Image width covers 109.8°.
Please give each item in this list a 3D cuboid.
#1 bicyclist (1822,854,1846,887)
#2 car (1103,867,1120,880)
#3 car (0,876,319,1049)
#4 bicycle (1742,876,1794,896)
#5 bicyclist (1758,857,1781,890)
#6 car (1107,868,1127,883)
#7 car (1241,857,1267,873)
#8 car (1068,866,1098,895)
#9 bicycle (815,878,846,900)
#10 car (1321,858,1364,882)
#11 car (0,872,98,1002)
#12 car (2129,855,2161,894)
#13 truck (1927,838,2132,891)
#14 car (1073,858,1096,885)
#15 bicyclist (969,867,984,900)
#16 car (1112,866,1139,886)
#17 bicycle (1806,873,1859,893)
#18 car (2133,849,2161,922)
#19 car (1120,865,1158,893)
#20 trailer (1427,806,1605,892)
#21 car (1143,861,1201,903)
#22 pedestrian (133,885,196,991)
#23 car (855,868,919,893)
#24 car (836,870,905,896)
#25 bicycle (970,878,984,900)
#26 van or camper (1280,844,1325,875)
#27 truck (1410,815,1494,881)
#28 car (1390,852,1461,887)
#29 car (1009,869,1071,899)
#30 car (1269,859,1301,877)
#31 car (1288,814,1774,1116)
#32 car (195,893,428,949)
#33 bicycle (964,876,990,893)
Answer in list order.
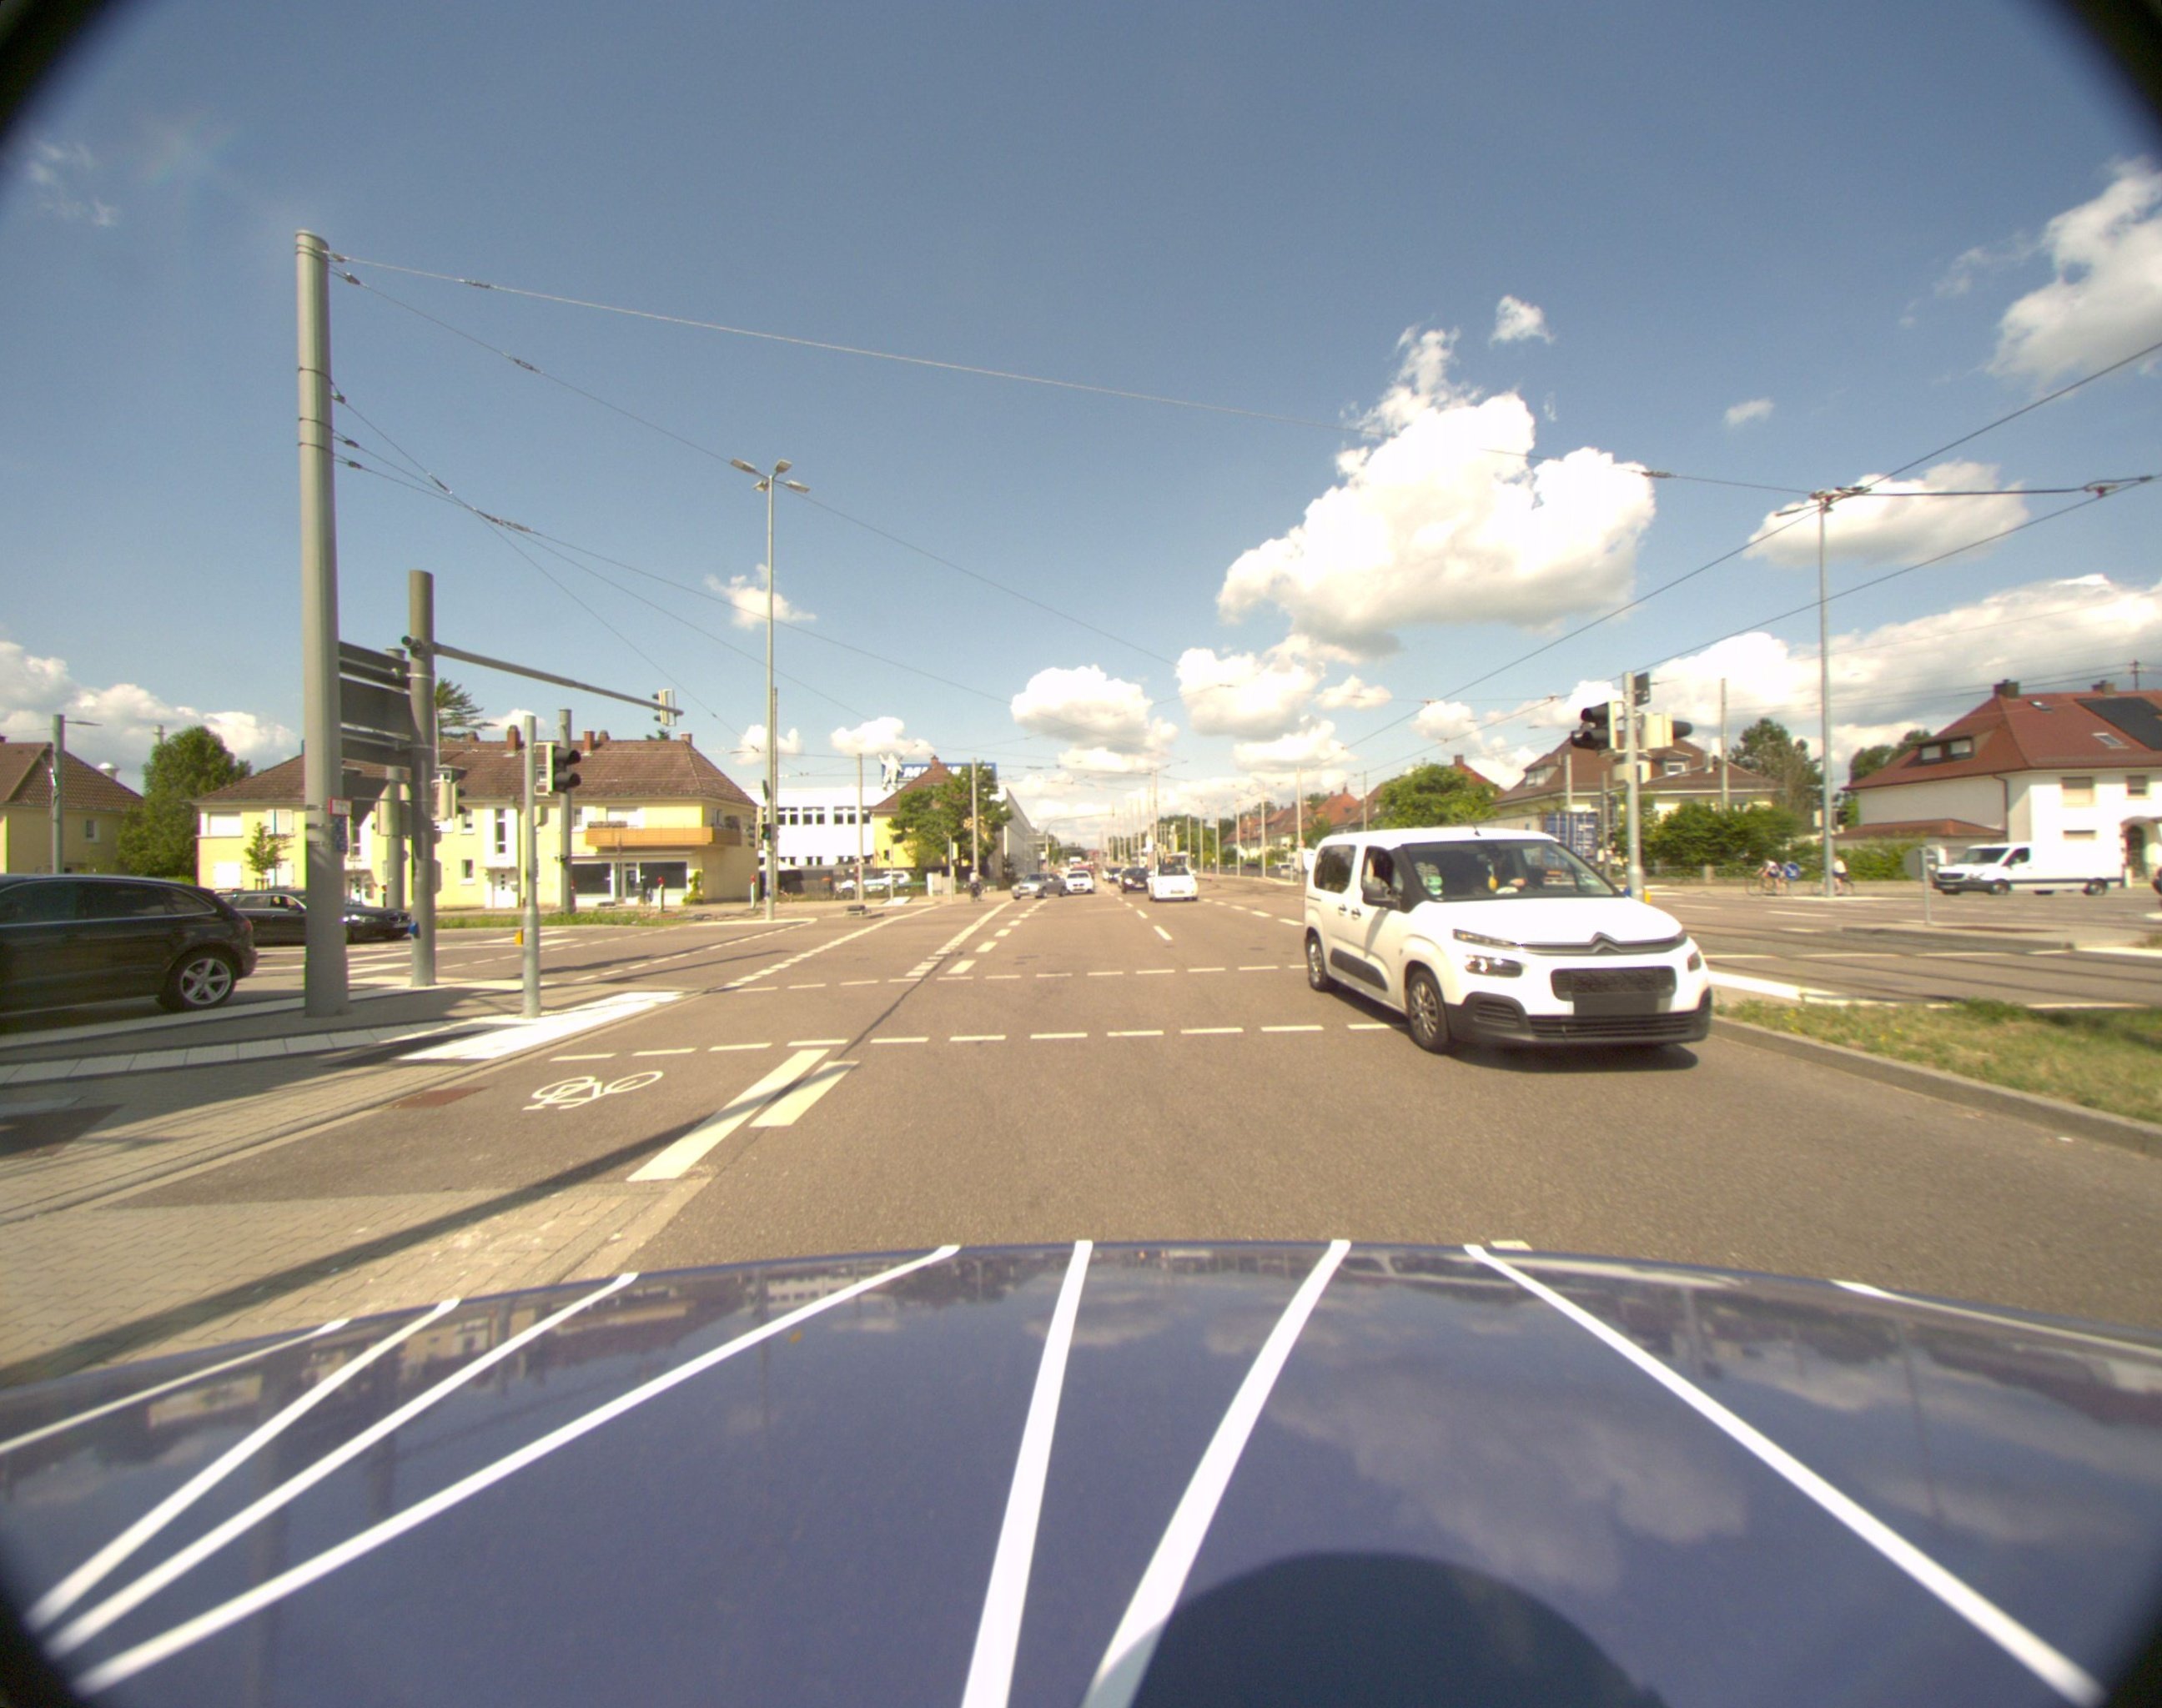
[{"bbox_3d":[35.314,0.763,35.632,0.501,1.489,0.602,-3,1,3],"label":"bicyclist"},{"bbox_3d":[3.690,2.380,91.882,1.698,1.350,4.498,-3,0,-1],"label":"car"},{"bbox_3d":[-11.504,1.144,8.349,1.998,1.586,4.131,-3,0,1],"label":"car"},{"bbox_3d":[32.299,1.491,35.741,1.808,0.830,0.602,-3,0,2],"label":"bicycle"},{"bbox_3d":[32.371,0.906,35.740,0.501,1.489,0.602,-3,1,3],"label":"bicyclist"},{"bbox_3d":[3.671,2.219,77.801,1.698,1.350,4.498,-3,0,-1],"label":"car"},{"bbox_3d":[19.124,1.236,84.125,1.998,1.765,4.880,0,-1,3],"label":"car"},{"bbox_3d":[0.081,1.568,46.578,1.664,1.564,3.999,-3,0,-1],"label":"car"},{"bbox_3d":[-14.153,1.981,42.907,1.576,1.131,0.380,-3,1,-27],"label":"bicycle"},{"bbox_3d":[19.107,1.133,55.732,1.799,1.627,4.472,0,0,3],"label":"car"},{"bbox_3d":[-14.344,1.080,8.196,1.998,1.586,4.131,-3,0,1],"label":"car"},{"bbox_3d":[46.972,0.797,31.481,4.173,1.543,2.000,-2,1,3],"label":"car"},{"bbox_3d":[40.021,0.429,32.163,6.199,1.910,1.690,-3,0,3],"label":"truck"},{"bbox_3d":[0.264,1.447,65.772,1.787,2.134,5.169,-3,0,-1],"label":"car"},{"bbox_3d":[-5.587,1.569,40.720,0.652,1.727,0.984,-3,0,-6],"label":"bicyclist"},{"bbox_3d":[3.329,1.628,57.770,1.698,1.350,4.498,-3,0,-1],"label":"car"},{"bbox_3d":[35.260,1.347,35.644,1.808,0.830,0.602,-3,0,2],"label":"bicycle"},{"bbox_3d":[21.068,0.590,12.424,1.798,1.379,4.473,0,0,6],"label":"car"},{"bbox_3d":[3.228,1.373,43.149,1.680,1.413,3.558,-3,0,-3],"label":"car"},{"bbox_3d":[22.223,-0.079,40.154,2.605,3.798,12.841,1,-1,3],"label":"trailer"},{"bbox_3d":[3.583,1.078,30.429,1.680,1.495,3.393,-3,0,-3],"label":"car"},{"bbox_3d":[-14.686,1.323,12.183,0.402,1.634,0.547,-3,1,-27],"label":"pedestrian"},{"bbox_3d":[-13.573,1.864,53.317,4.118,1.587,1.800,-2,-1,-6],"label":"car"},{"bbox_3d":[-13.909,1.900,50.487,4.118,1.587,1.800,-2,-1,-6],"label":"car"},{"bbox_3d":[-5.568,1.860,40.686,0.652,1.111,1.587,-3,0,-6],"label":"bicycle"},{"bbox_3d":[22.427,0.458,77.403,2.330,2.913,7.751,-1,2,0],"label":"van or camper"},{"bbox_3d":[22.565,-0.290,46.517,2.605,3.798,5.669,1,-1,3],"label":"truck"},{"bbox_3d":[18.829,0.800,41.760,1.799,1.804,4.712,0,0,0],"label":"car"},{"bbox_3d":[-2.156,1.602,41.285,1.723,1.389,4.470,-3,-1,20],"label":"car"},{"bbox_3d":[19.350,1.304,72.252,1.998,1.543,4.178,2,0,1],"label":"car"},{"bbox_3d":[3.391,0.693,6.896,1.799,1.804,4.329,-3,0,0],"label":"car"},{"bbox_3d":[-20.383,1.748,20.280,4.327,1.321,1.739,0,0,-2],"label":"car"},{"bbox_3d":[-6.739,1.966,49.337,0.462,1.012,1.759,-2,0,40],"label":"bicycle"}]
